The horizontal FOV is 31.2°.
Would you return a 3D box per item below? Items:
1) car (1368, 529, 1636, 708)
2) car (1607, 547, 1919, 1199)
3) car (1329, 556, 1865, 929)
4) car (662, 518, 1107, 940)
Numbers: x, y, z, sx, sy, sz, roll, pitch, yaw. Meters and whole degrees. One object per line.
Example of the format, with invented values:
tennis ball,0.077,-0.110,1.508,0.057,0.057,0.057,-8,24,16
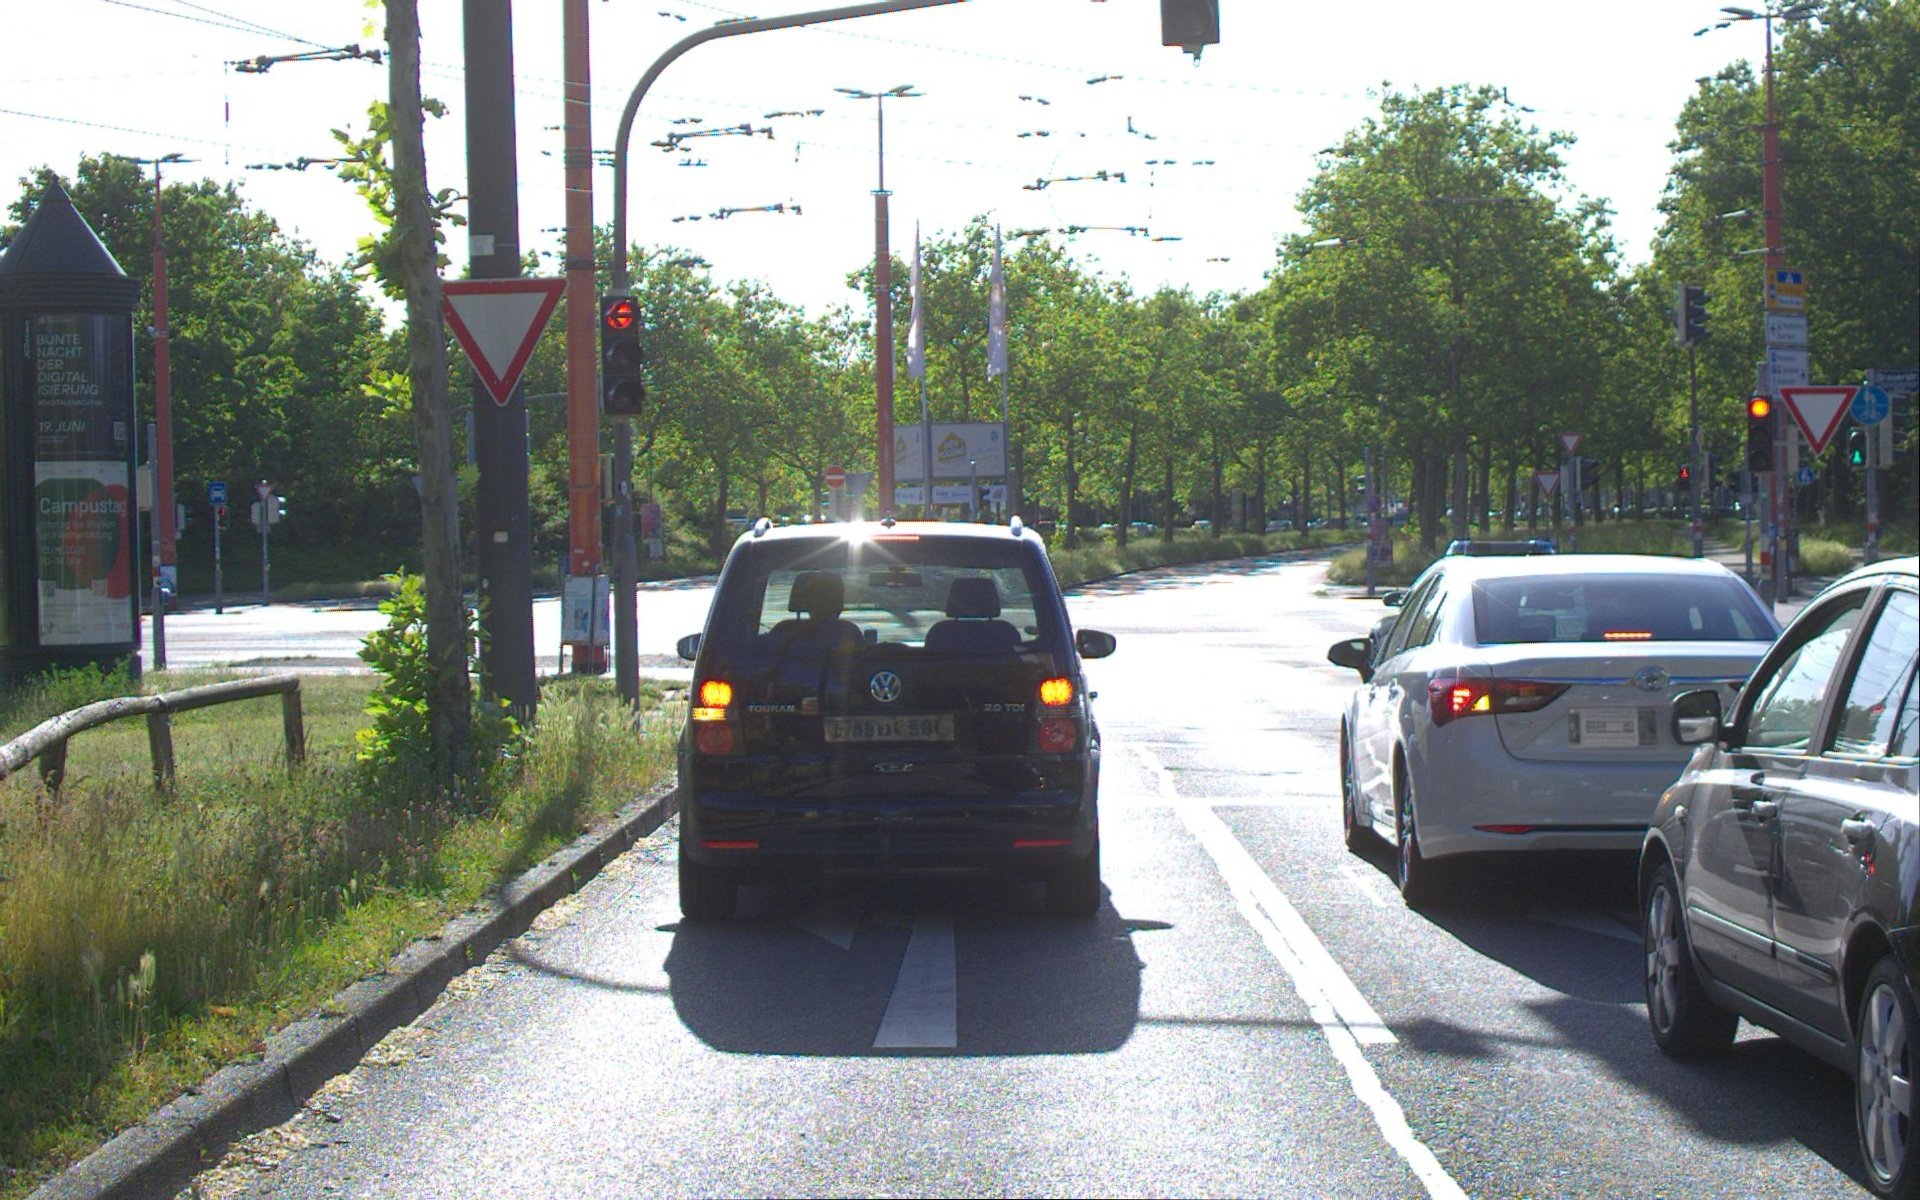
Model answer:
car,5.335,0.138,34.322,1.797,1.650,4.115,-1,1,-3
car,2.852,0.620,8.950,1.654,1.495,3.614,0,1,0
car,2.711,0.530,15.535,1.720,1.433,4.198,0,1,1
car,-0.313,0.465,15.252,1.700,1.616,3.897,-1,1,-1
